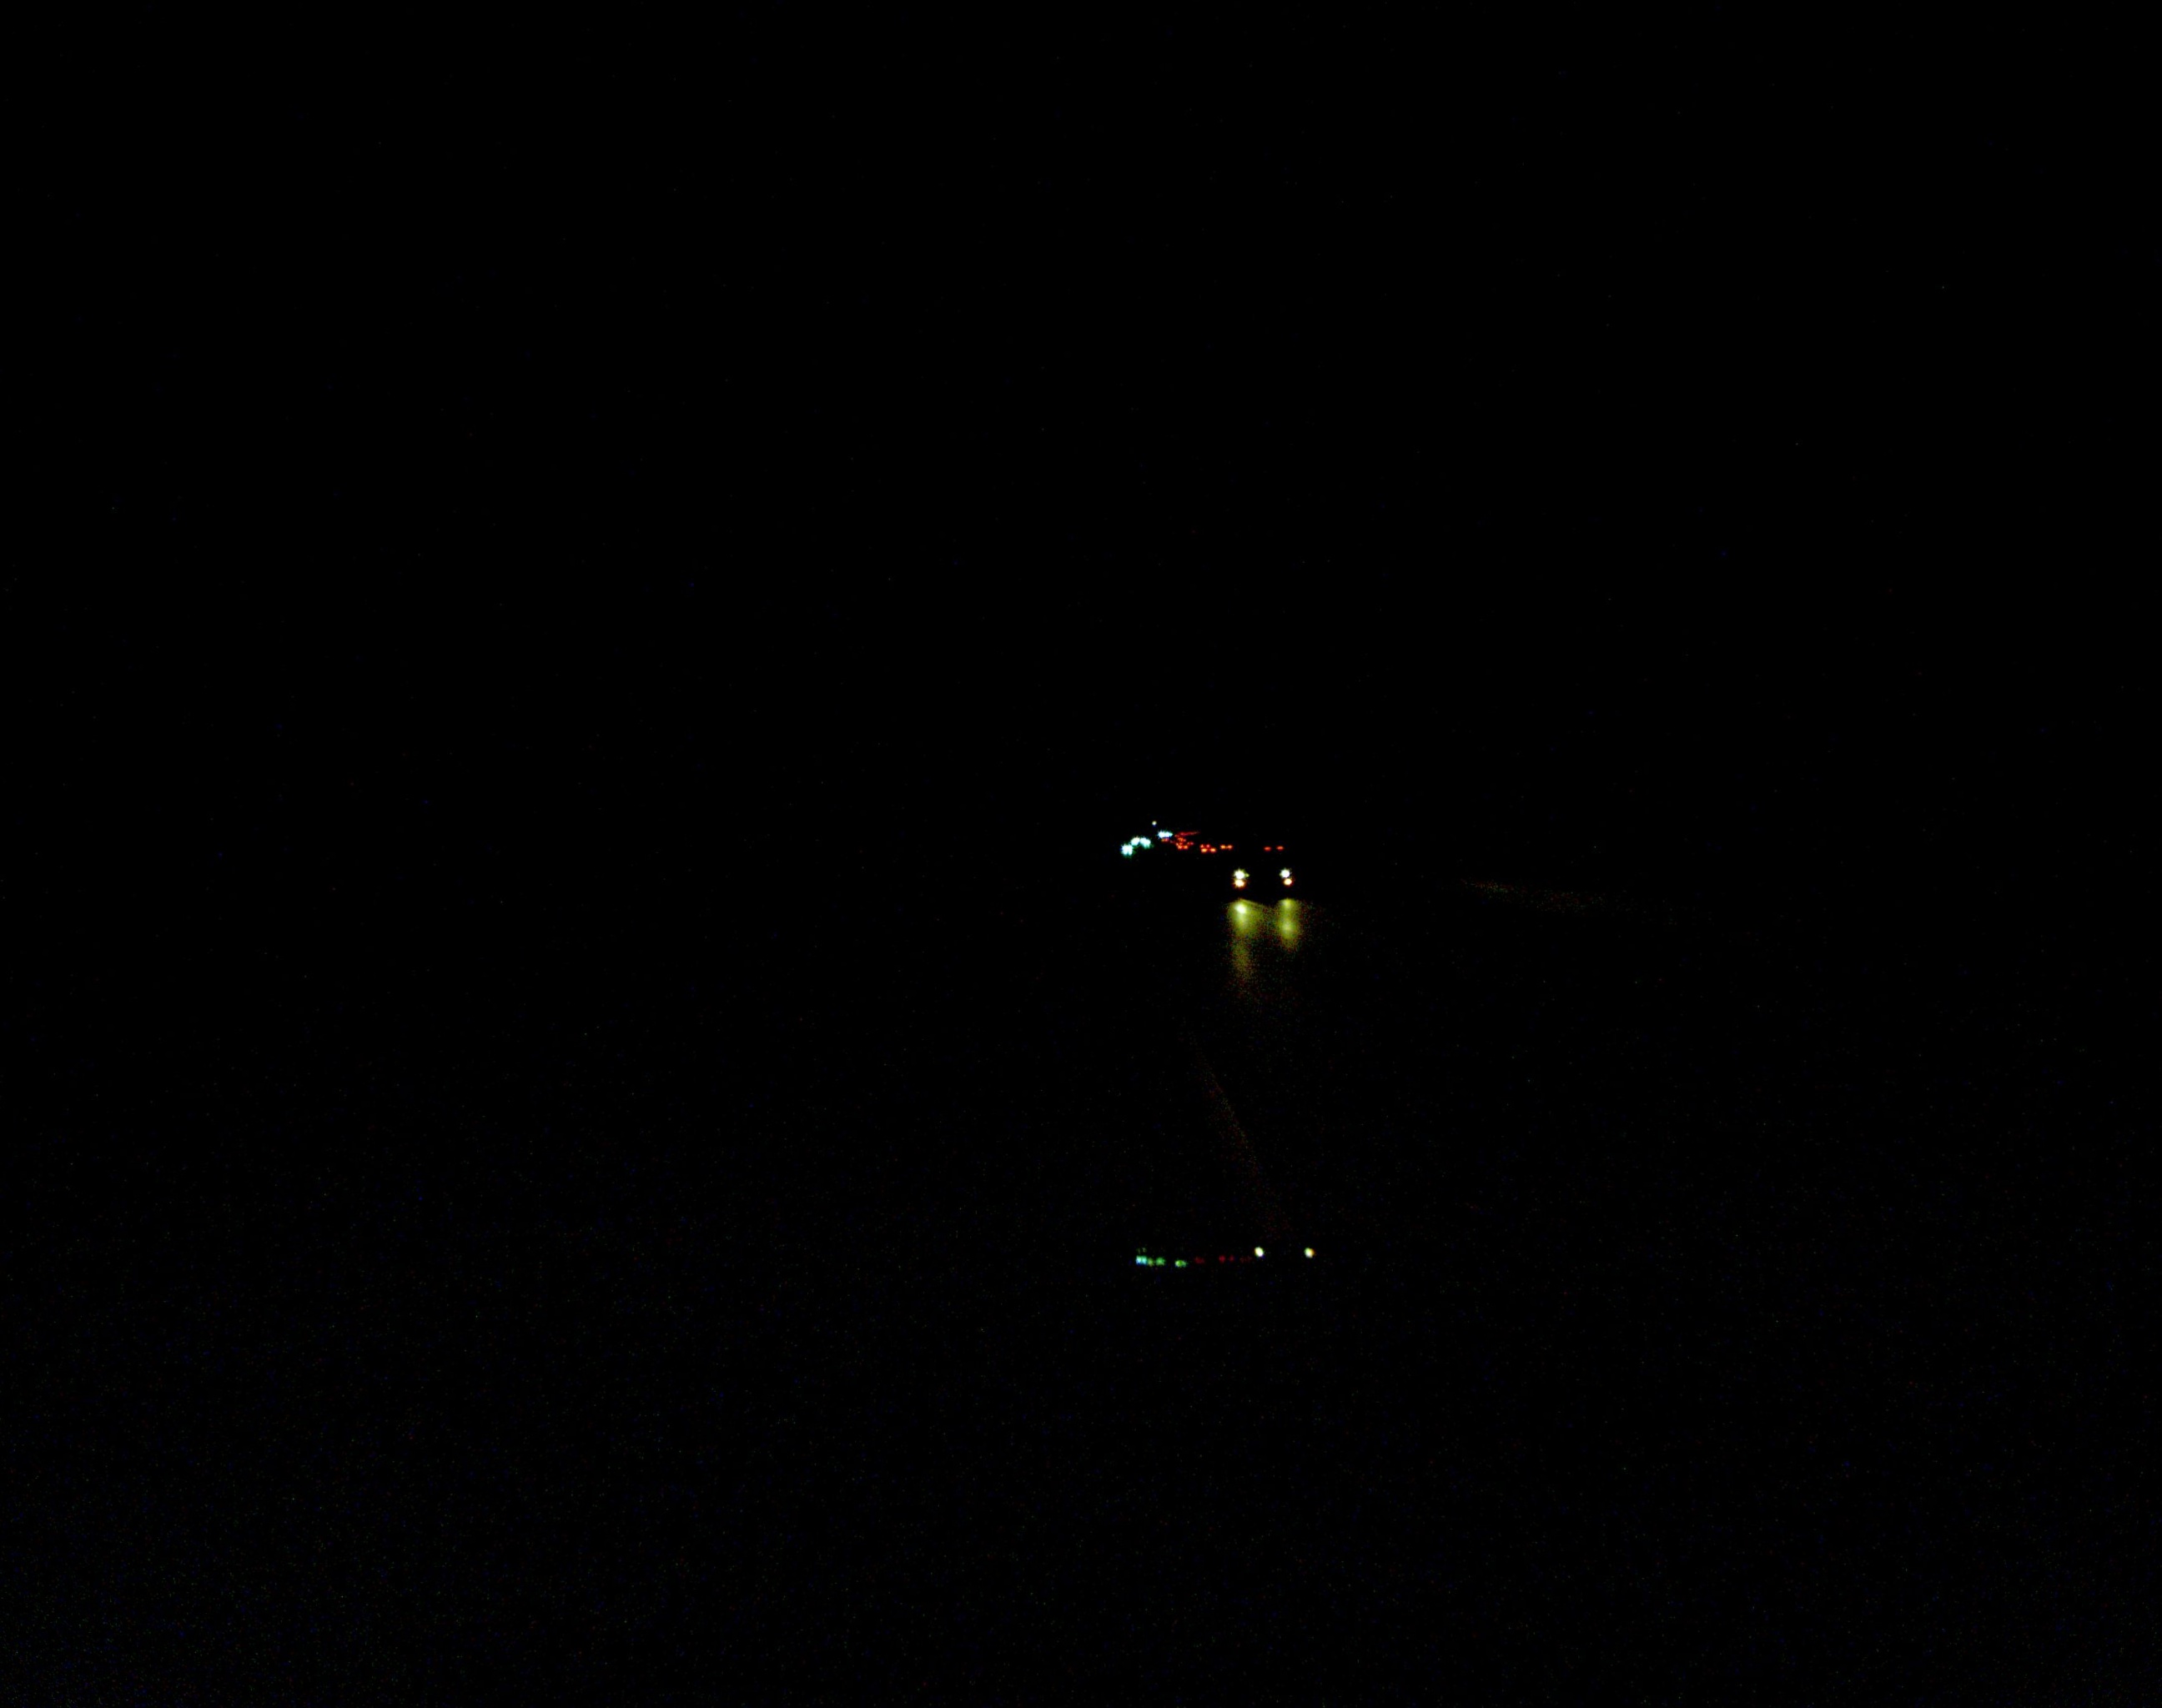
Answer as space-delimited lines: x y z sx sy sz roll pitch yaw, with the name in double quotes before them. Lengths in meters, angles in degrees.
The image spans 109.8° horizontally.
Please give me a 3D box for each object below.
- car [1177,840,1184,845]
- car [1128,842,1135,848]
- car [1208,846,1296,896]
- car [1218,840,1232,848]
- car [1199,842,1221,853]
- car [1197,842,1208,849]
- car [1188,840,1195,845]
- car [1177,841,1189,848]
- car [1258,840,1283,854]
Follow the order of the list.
"car" 33.398 -4.010 254.982 2.123 1.547 5.109 -2 1 4
"car" 14.417 -2.509 218.388 1.998 1.653 4.000 -2 1 4
"car" 5.861 0.585 26.729 1.998 1.509 5.652 -2 -1 3
"car" 29.687 -2.110 156.342 2.123 1.547 5.109 -2 1 3
"car" 19.649 -0.980 116.038 2.565 1.547 5.109 -2 1 3
"car" 30.838 -2.149 192.365 2.189 1.472 5.242 -3 1 3
"car" 38.401 -4.038 264.014 2.123 1.547 5.109 -2 1 4
"car" 22.871 -2.151 170.945 2.123 1.547 5.109 -2 1 3
"car" 25.551 -0.935 102.608 2.058 1.771 5.941 -2 1 3
